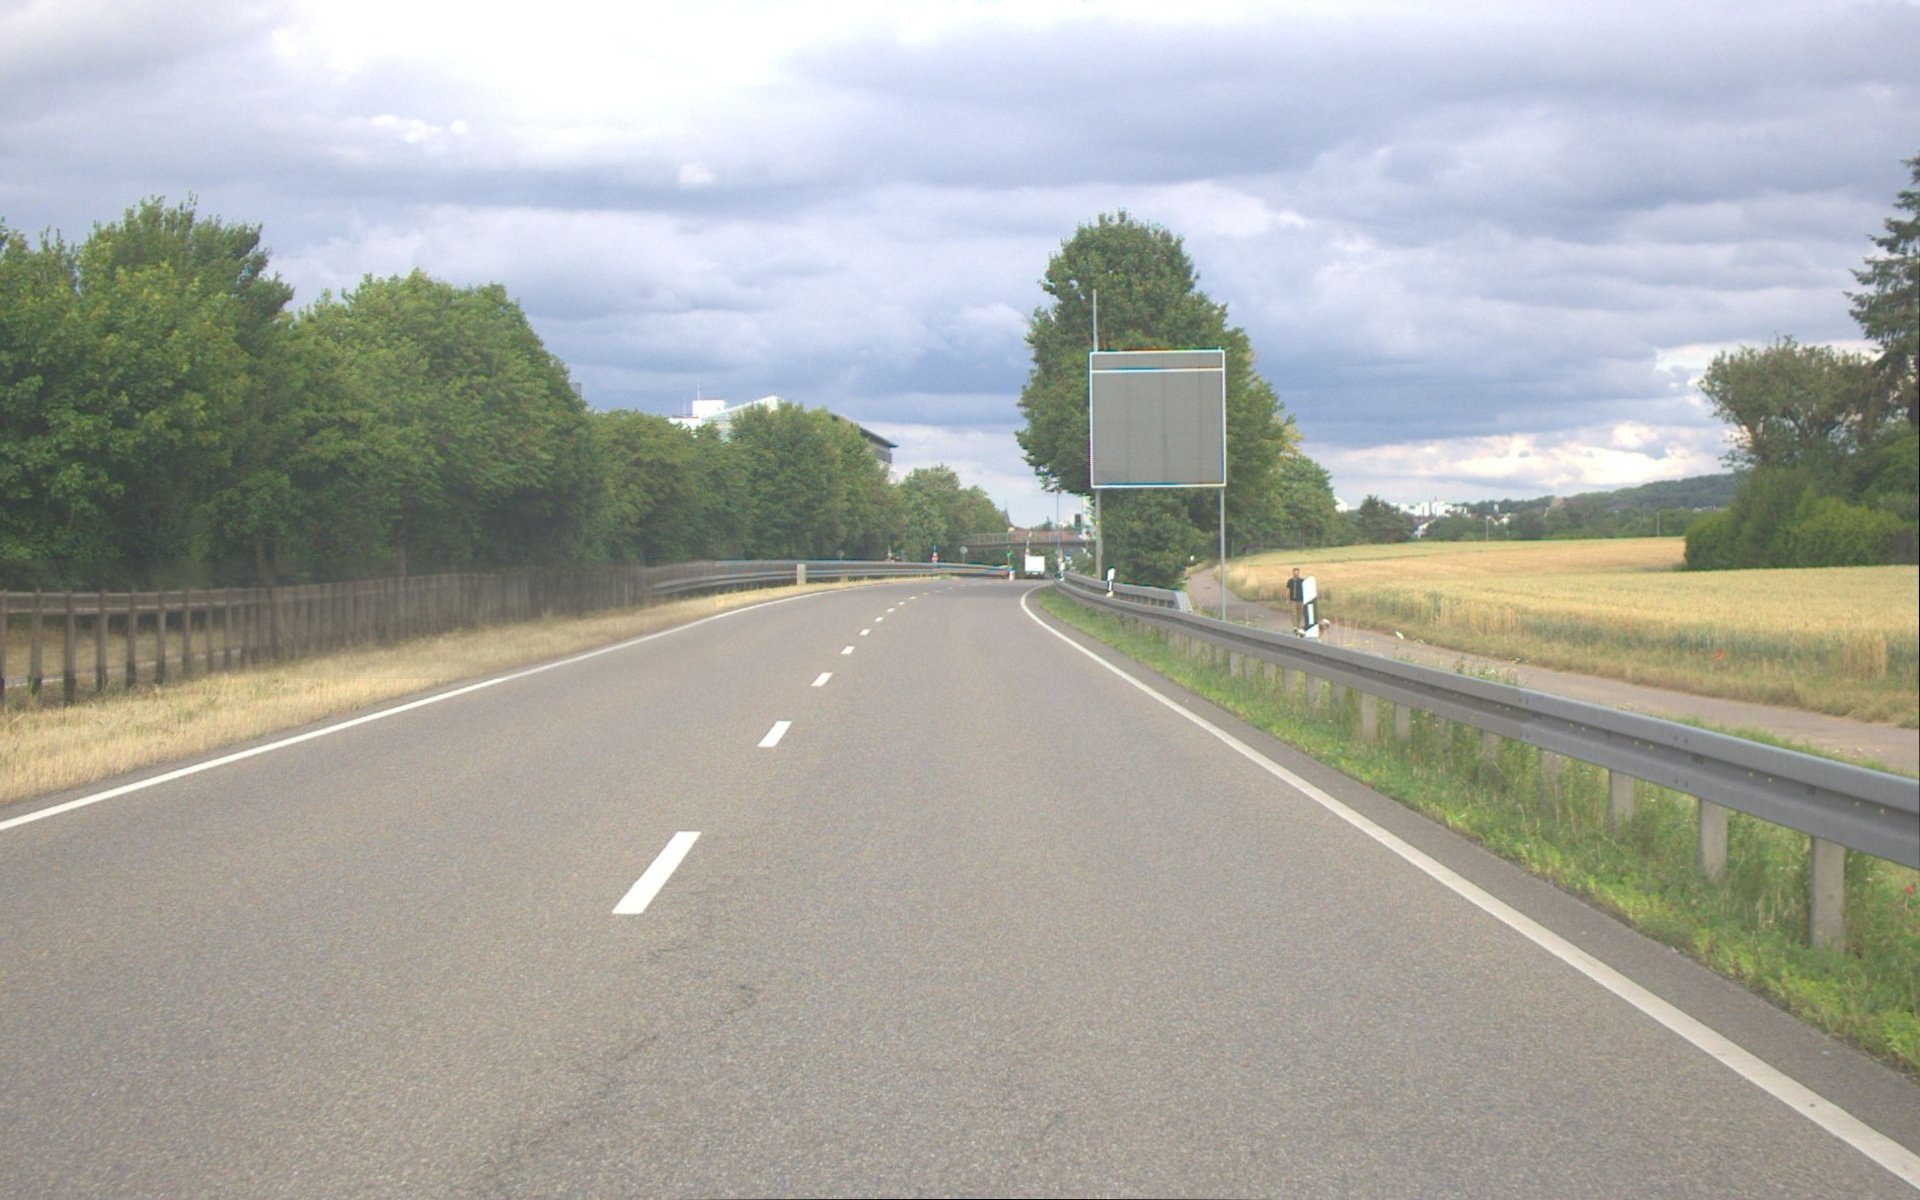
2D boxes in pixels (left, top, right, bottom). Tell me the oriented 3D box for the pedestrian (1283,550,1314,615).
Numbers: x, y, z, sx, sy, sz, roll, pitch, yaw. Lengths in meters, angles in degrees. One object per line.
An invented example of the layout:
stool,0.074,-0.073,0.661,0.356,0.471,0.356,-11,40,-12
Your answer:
pedestrian,9.972,-0.519,101.343,0.771,1.861,0.940,2,0,0

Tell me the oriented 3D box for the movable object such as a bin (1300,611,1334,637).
movable object such as a bin,9.295,0.618,89.432,0.732,0.643,1.235,2,0,0
